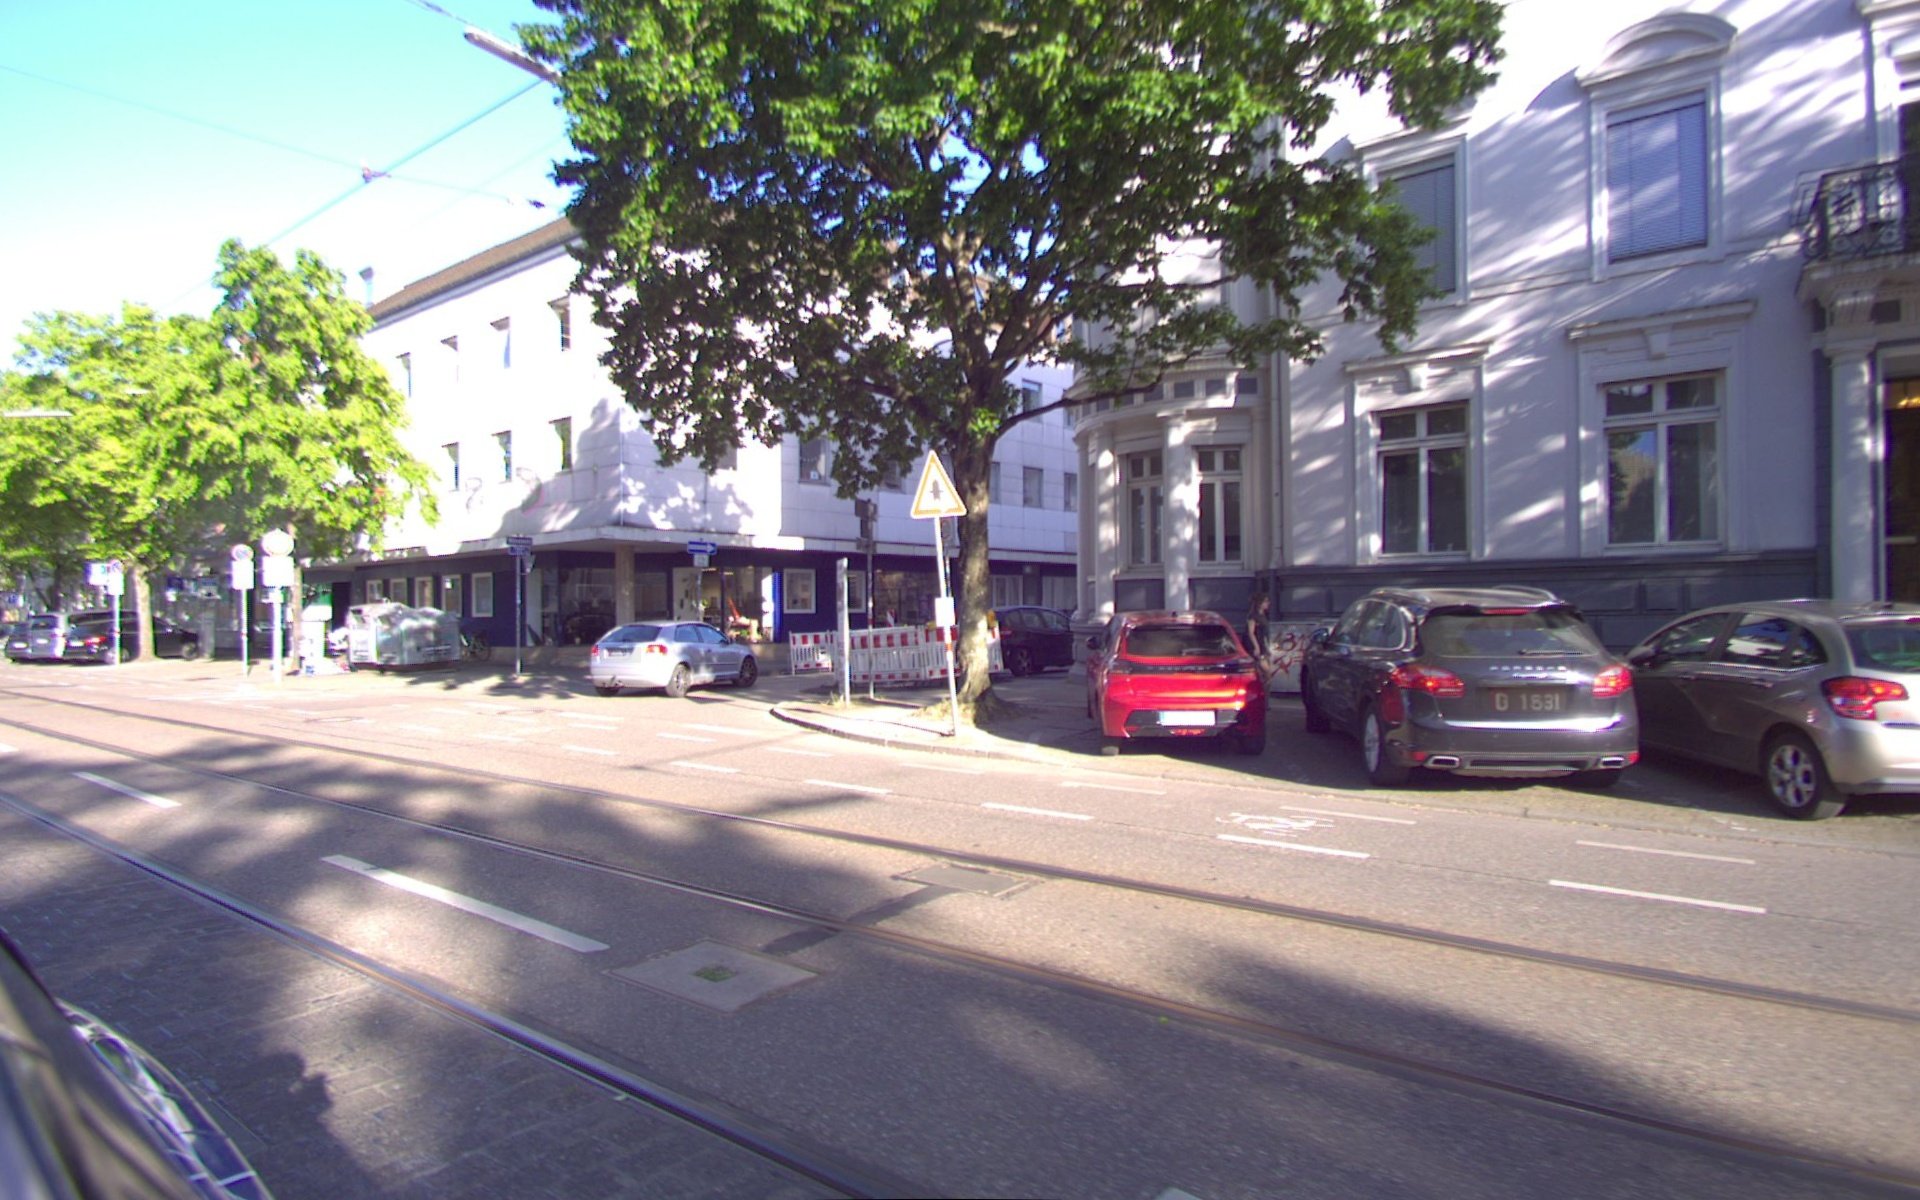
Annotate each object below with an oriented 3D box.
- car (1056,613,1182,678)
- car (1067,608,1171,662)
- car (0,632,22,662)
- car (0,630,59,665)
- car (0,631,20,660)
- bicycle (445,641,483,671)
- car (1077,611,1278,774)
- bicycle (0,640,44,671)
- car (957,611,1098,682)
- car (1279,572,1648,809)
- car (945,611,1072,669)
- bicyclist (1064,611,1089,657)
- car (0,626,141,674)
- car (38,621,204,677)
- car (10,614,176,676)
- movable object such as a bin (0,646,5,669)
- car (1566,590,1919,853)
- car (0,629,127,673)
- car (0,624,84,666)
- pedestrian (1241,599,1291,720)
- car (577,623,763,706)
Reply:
[{"bbox_3d":[4.221,1.138,26.493,1.475,1.560,3.719,-2,-2,41],"label":"car"},{"bbox_3d":[5.602,1.183,35.443,1.608,1.785,3.942,-2,-2,44],"label":"car"},{"bbox_3d":[-50.121,2.457,51.193,1.733,1.481,3.675,-1,0,8],"label":"car"},{"bbox_3d":[-45.441,2.293,47.748,1.821,1.524,4.104,-2,0,10],"label":"car"},{"bbox_3d":[-52.129,2.462,52.828,1.922,1.502,4.190,-2,0,10],"label":"car"},{"bbox_3d":[-14.674,1.645,29.946,1.482,0.845,0.380,-2,-2,37],"label":"bicycle"},{"bbox_3d":[2.276,0.900,11.507,1.617,1.464,3.910,-1,0,3],"label":"car"},{"bbox_3d":[-38.435,2.261,40.982,0.489,1.153,1.960,-1,0,18],"label":"bicycle"},{"bbox_3d":[1.540,0.986,22.339,1.475,1.454,3.205,-2,-2,41],"label":"car"},{"bbox_3d":[4.294,0.717,9.330,1.589,1.735,3.684,-1,-2,2],"label":"car"},{"bbox_3d":[1.555,1.198,31.461,1.717,1.596,3.942,-2,0,45],"label":"car"},{"bbox_3d":[3.536,1.031,30.716,0.459,1.388,0.632,-2,-2,41],"label":"bicyclist"},{"bbox_3d":[-34.214,1.880,38.733,1.795,1.698,4.227,-1,-1,16],"label":"car"},{"bbox_3d":[-29.680,1.695,36.000,1.892,1.679,4.279,-1,1,13],"label":"car"},{"bbox_3d":[-31.981,1.609,37.507,1.931,2.001,4.347,-1,0,15],"label":"car"},{"bbox_3d":[-38.830,2.323,40.564,0.571,0.920,0.573,-3,0,21],"label":"movable object such as a bin"},{"bbox_3d":[6.776,0.802,8.190,1.715,1.674,3.562,-1,-1,4],"label":"car"},{"bbox_3d":[-36.328,2.032,40.829,1.826,1.487,3.851,-1,1,15],"label":"car"},{"bbox_3d":[-42.617,2.061,45.872,1.836,1.690,4.070,-2,1,34],"label":"car"},{"bbox_3d":[4.102,0.781,13.562,0.511,1.584,0.341,-2,-2,41],"label":"pedestrian"},{"bbox_3d":[-5.540,1.189,19.886,1.698,1.447,4.152,-1,-2,14],"label":"car"}]
